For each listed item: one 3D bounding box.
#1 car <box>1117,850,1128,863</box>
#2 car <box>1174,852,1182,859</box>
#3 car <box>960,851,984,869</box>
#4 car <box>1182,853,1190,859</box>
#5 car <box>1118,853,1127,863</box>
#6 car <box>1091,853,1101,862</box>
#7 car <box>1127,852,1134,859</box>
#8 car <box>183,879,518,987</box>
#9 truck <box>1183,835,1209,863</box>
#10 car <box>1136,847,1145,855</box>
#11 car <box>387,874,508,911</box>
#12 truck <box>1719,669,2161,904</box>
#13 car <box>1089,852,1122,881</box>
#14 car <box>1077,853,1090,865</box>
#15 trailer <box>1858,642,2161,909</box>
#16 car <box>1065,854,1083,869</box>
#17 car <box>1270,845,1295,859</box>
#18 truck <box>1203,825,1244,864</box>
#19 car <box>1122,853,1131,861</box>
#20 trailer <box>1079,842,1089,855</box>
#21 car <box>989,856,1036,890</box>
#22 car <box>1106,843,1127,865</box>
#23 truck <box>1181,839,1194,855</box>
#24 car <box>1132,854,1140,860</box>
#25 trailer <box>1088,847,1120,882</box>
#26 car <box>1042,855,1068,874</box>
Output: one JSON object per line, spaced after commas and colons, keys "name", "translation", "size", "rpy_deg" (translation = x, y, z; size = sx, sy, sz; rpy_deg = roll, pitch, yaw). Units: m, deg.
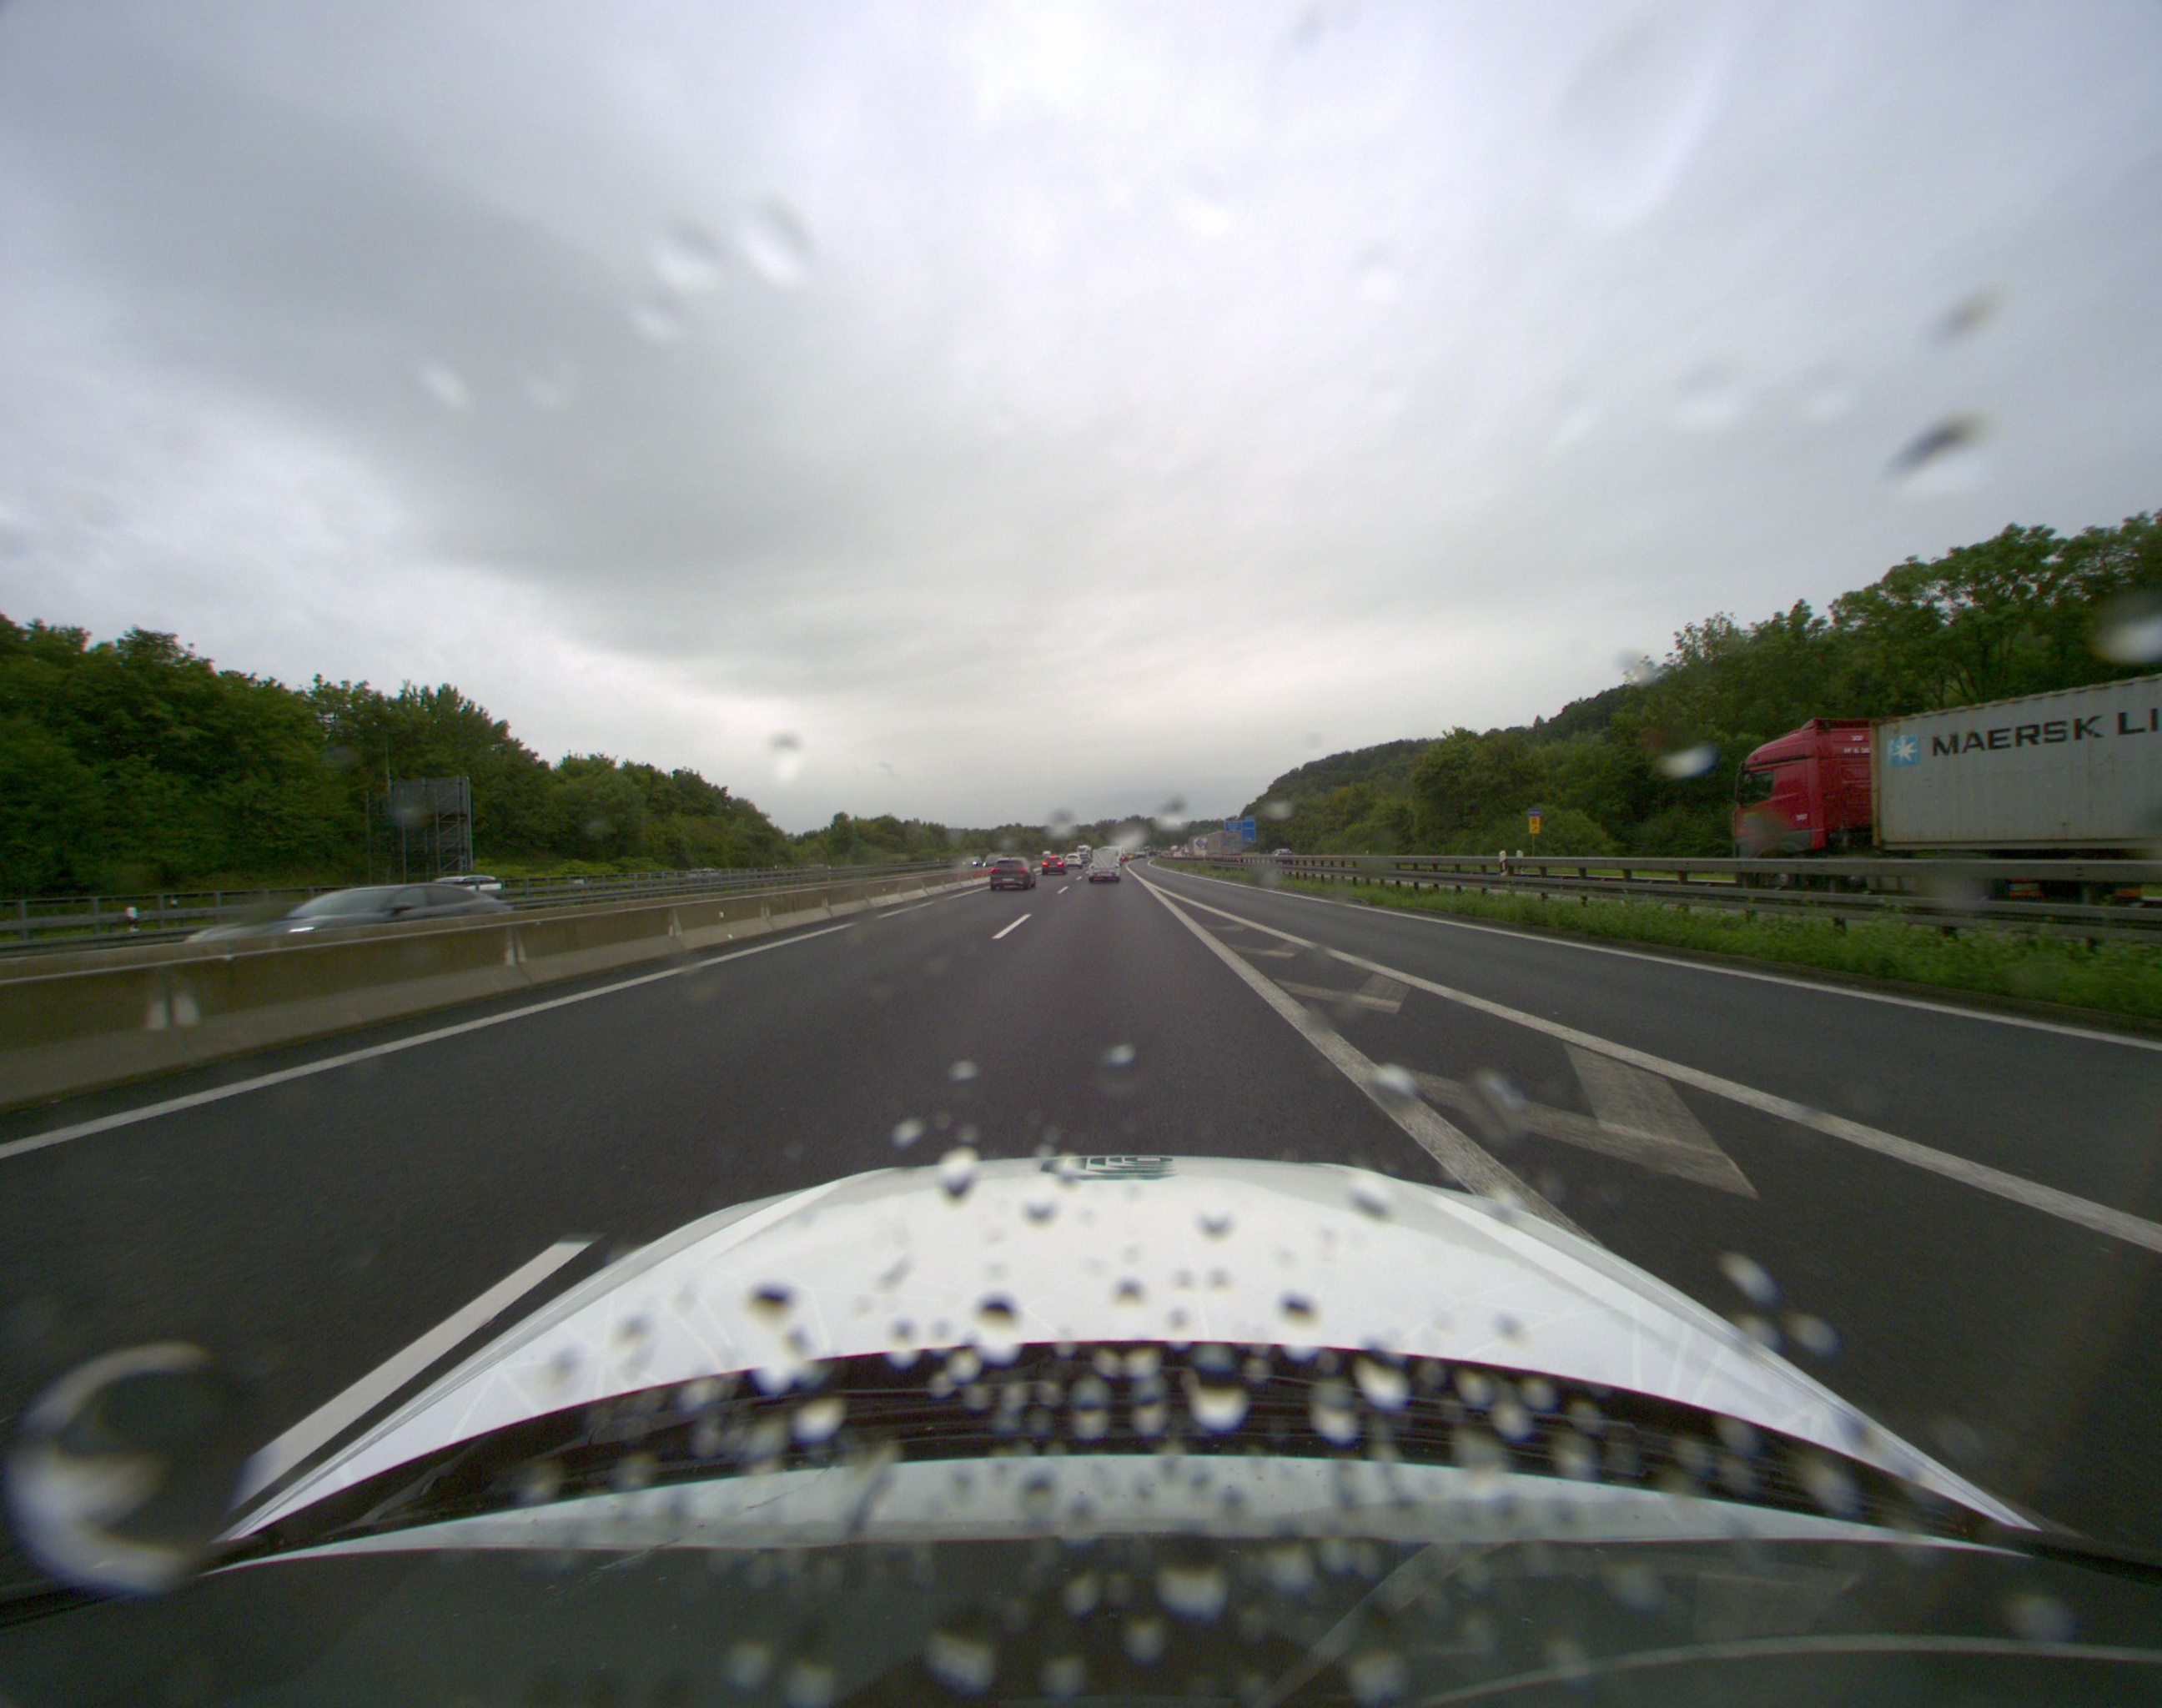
{"name": "car", "translation": [6.645, 0.409, 130.001], "size": [1.668, 2.067, 4.004], "rpy_deg": [-1, 0, 4]}
{"name": "car", "translation": [20.377, 0.322, 171.083], "size": [1.668, 1.456, 4.005], "rpy_deg": [-1, 0, 5]}
{"name": "car", "translation": [-12.814, 0.667, 95.927], "size": [1.986, 2.014, 4.985], "rpy_deg": [-1, 0, 2]}
{"name": "car", "translation": [26.147, 0.449, 202.278], "size": [1.668, 1.456, 4.004], "rpy_deg": [-1, 0, 4]}
{"name": "car", "translation": [8.151, 0.757, 159.915], "size": [1.668, 1.812, 4.005], "rpy_deg": [-1, 0, 4]}
{"name": "car", "translation": [2.898, 0.739, 158.270], "size": [1.768, 1.640, 4.046], "rpy_deg": [-1, 0, 3]}
{"name": "car", "translation": [12.523, 0.349, 205.206], "size": [1.668, 1.812, 4.005], "rpy_deg": [-1, 0, 4]}
{"name": "car", "translation": [-12.302, 1.230, 14.213], "size": [1.749, 1.456, 4.420], "rpy_deg": [-1, 0, 2]}
{"name": "truck", "translation": [20.240, -0.778, 144.464], "size": [3.203, 4.666, 13.037], "rpy_deg": [-1, 0, 2]}
{"name": "car", "translation": [17.926, -0.866, 244.858], "size": [2.504, 2.574, 5.318], "rpy_deg": [-1, 0, 4]}
{"name": "car", "translation": [-28.154, 1.654, 36.426], "size": [1.669, 1.456, 4.635], "rpy_deg": [-1, 0, 2]}
{"name": "truck", "translation": [16.970, -1.108, 16.714], "size": [2.609, 3.885, 6.388], "rpy_deg": [-1, 0, -1]}
{"name": "car", "translation": [1.538, 0.712, 48.760], "size": [1.811, 1.616, 4.782], "rpy_deg": [-1, 0, 3]}
{"name": "car", "translation": [0.376, 0.738, 115.391], "size": [1.769, 1.640, 4.045], "rpy_deg": [-1, 0, 2]}
{"name": "trailer", "translation": [17.160, -1.173, 10.232], "size": [2.597, 3.894, 12.482], "rpy_deg": [-1, 0, -1]}
{"name": "car", "translation": [-0.740, 0.835, 89.929], "size": [1.768, 1.640, 4.045], "rpy_deg": [-1, 0, 2]}
{"name": "car", "translation": [21.798, -0.225, 88.227], "size": [1.670, 1.456, 4.000], "rpy_deg": [-1, 0, 1]}
{"name": "truck", "translation": [18.311, -1.090, 105.474], "size": [3.204, 4.666, 13.034], "rpy_deg": [-1, 0, 1]}
{"name": "car", "translation": [9.882, 0.652, 176.907], "size": [1.668, 1.812, 4.005], "rpy_deg": [-1, 0, 4]}
{"name": "trailer", "translation": [0.825, -1.626, 238.520], "size": [2.625, 3.715, 6.497], "rpy_deg": [-1, 0, 3]}
{"name": "car", "translation": [-3.092, 0.832, 37.543], "size": [1.669, 1.456, 4.002], "rpy_deg": [-1, 0, 2]}
{"name": "car", "translation": [4.544, 0.012, 103.489], "size": [2.496, 2.585, 5.706], "rpy_deg": [-1, 0, 4]}
{"name": "truck", "translation": [32.477, -2.121, 247.953], "size": [3.643, 4.666, 13.058], "rpy_deg": [-1, 0, 7]}
{"name": "car", "translation": [14.836, 0.764, 218.905], "size": [2.026, 1.683, 4.008], "rpy_deg": [-1, 0, 7]}
{"name": "trailer", "translation": [1.318, 0.575, 45.060], "size": [1.669, 1.812, 4.002], "rpy_deg": [-1, 0, 3]}
{"name": "car", "translation": [-2.028, 0.829, 63.956], "size": [1.758, 1.456, 4.002], "rpy_deg": [-1, 0, 2]}
